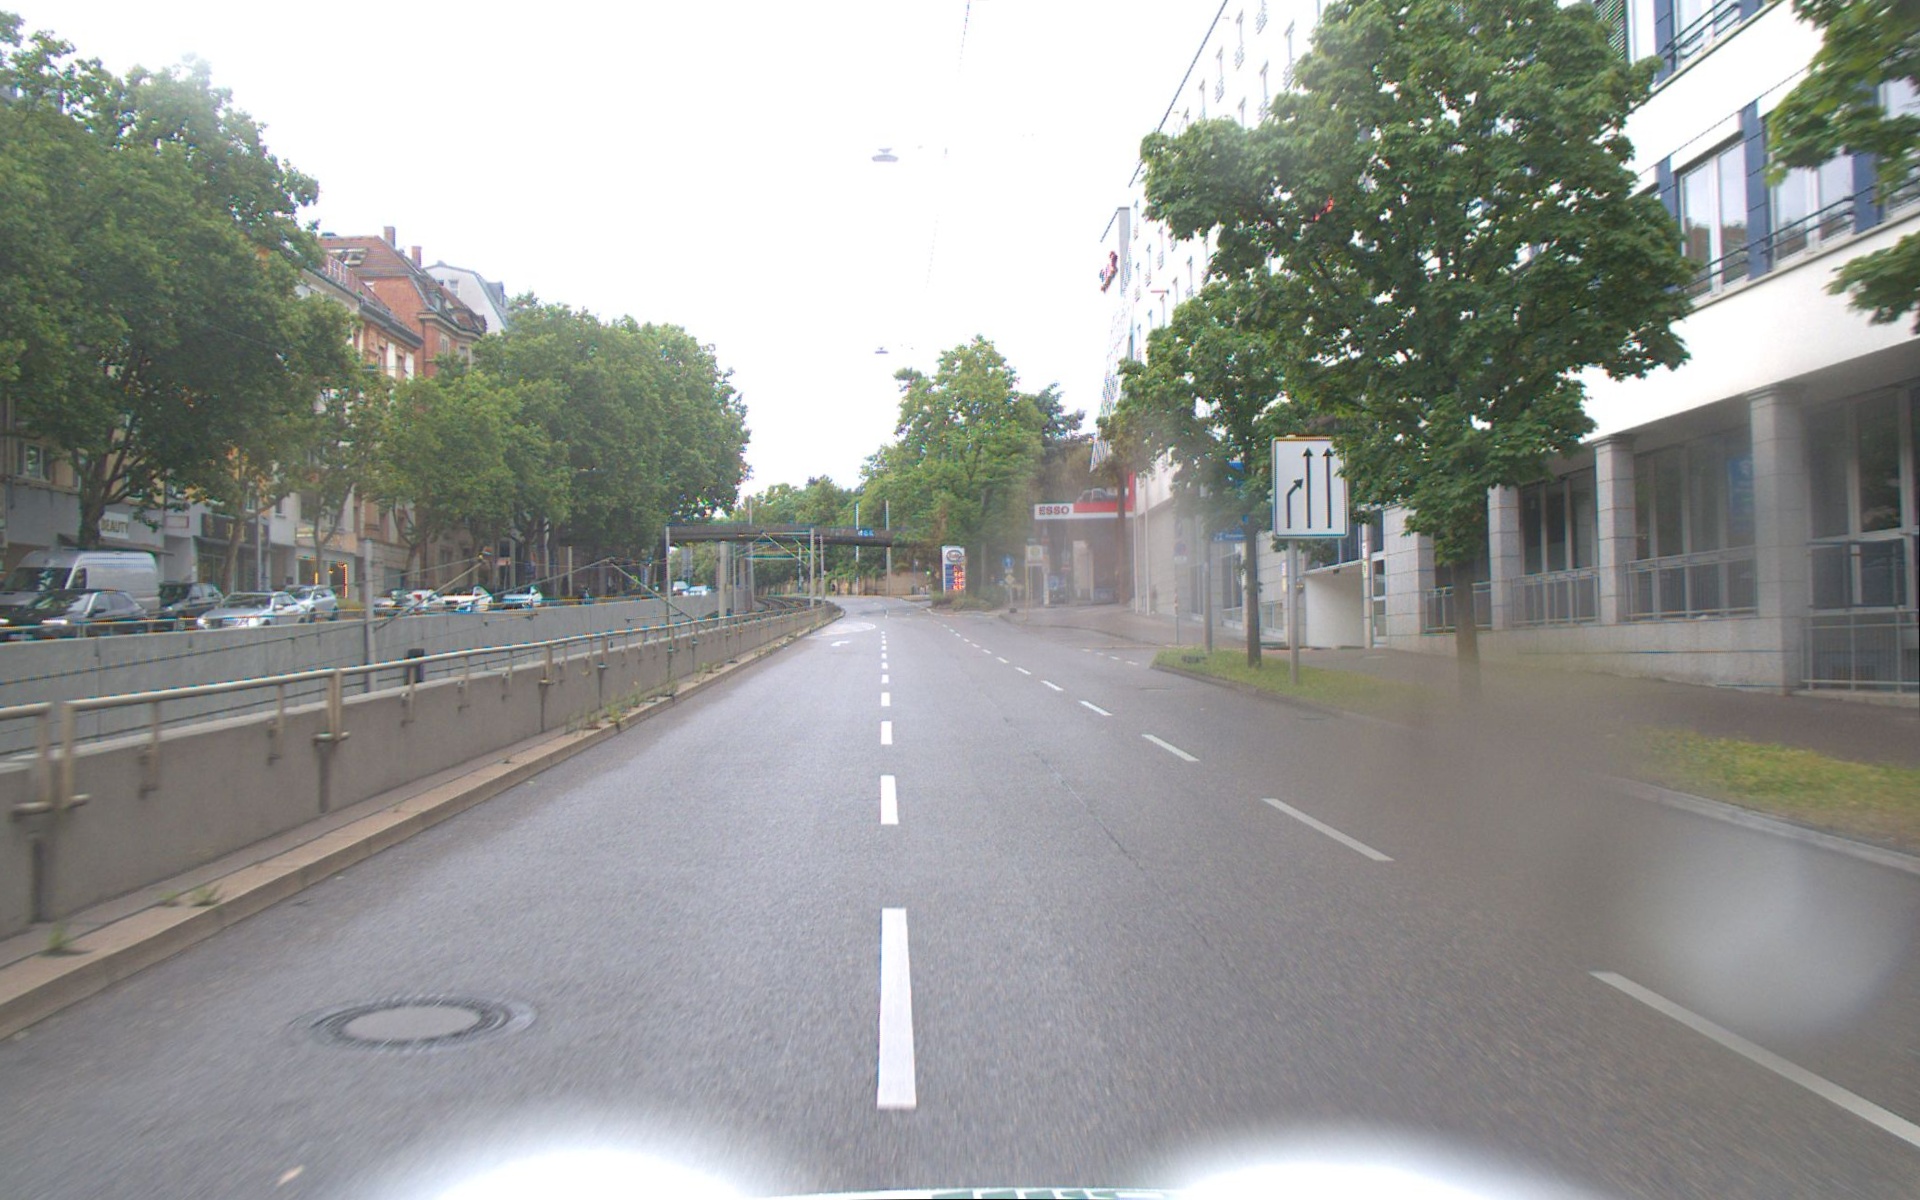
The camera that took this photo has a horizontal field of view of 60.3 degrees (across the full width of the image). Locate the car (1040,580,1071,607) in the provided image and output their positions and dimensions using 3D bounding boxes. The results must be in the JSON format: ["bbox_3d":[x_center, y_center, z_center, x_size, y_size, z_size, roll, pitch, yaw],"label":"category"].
[{"bbox_3d":[6.248,-0.415,108.249,1.735,1.652,3.869,-3,0,7],"label":"car"}]

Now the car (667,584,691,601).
[{"bbox_3d":[-32.392,-0.861,190.922,1.916,1.885,4.968,1,1,0],"label":"car"}]

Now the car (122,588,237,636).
[{"bbox_3d":[-26.589,0.368,56.524,1.758,1.536,4.671,1,1,-1],"label":"car"}]

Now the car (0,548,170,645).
[{"bbox_3d":[-26.685,-0.143,49.906,2.402,2.709,6.930,1,1,-1],"label":"car"}]

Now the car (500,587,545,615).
[{"bbox_3d":[-26.444,0.025,100.050,1.758,1.639,4.111,1,1,-2],"label":"car"}]

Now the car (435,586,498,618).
[{"bbox_3d":[-26.484,0.100,88.895,1.888,1.629,5.198,1,1,-1],"label":"car"}]

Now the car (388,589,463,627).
[{"bbox_3d":[-22.804,0.314,70.725,1.808,1.536,4.017,1,1,1],"label":"car"}]

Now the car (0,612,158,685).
[{"bbox_3d":[-20.111,1.059,37.518,1.757,1.537,4.343,0,-1,0],"label":"car"}]

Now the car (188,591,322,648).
[{"bbox_3d":[-20.357,0.516,47.988,1.809,1.536,4.821,1,1,0],"label":"car"}]

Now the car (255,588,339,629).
[{"bbox_3d":[-27.022,0.309,67.559,1.757,1.598,4.207,1,0,-1],"label":"car"}]

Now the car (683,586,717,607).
[{"bbox_3d":[-20.237,-0.289,128.875,1.985,1.536,4.881,1,1,-1],"label":"car"}]

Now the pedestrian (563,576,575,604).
[{"bbox_3d":[-28.930,-0.738,122.317,0.655,2.049,0.935,1,-1,1],"label":"pedestrian"}]

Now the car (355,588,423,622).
[{"bbox_3d":[-26.881,0.223,78.001,1.757,1.536,4.207,1,1,-1],"label":"car"}]
